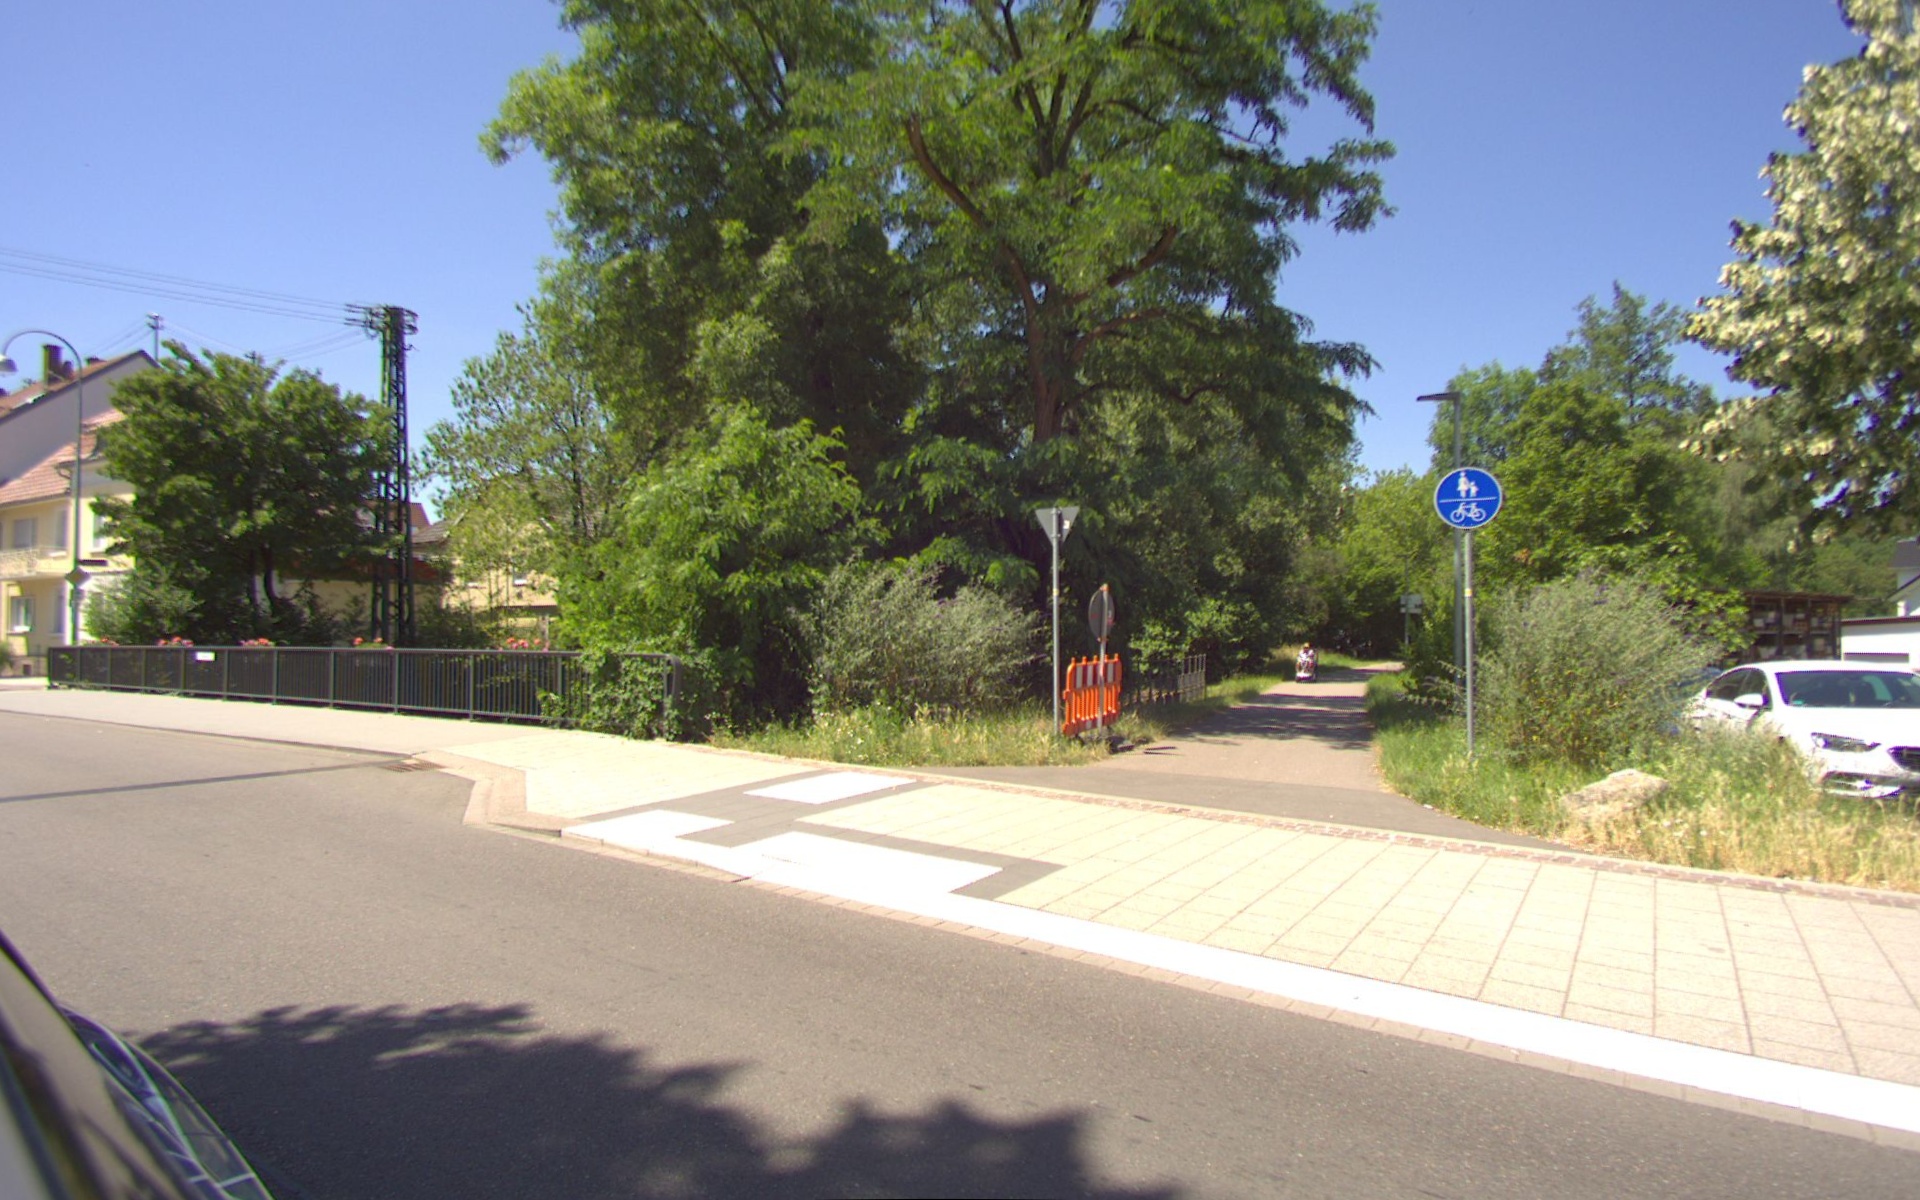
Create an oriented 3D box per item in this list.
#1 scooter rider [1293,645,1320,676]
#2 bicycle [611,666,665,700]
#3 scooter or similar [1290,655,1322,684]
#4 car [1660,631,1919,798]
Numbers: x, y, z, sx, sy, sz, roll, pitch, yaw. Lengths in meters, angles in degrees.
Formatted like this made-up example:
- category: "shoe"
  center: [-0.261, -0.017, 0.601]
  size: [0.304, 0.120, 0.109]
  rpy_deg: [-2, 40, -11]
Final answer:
- category: "scooter rider"
  center: [12.371, 2.159, 36.151]
  size: [0.799, 1.059, 0.913]
  rpy_deg: [-1, -1, 25]
- category: "bicycle"
  center: [-12.159, 3.142, 38.306]
  size: [0.560, 1.251, 1.862]
  rpy_deg: [-3, -5, 45]
- category: "scooter or similar"
  center: [12.370, 2.467, 36.163]
  size: [0.914, 0.931, 1.612]
  rpy_deg: [-1, -2, 24]
- category: "car"
  center: [9.055, 1.013, 10.430]
  size: [1.986, 1.367, 4.674]
  rpy_deg: [0, -2, 22]
